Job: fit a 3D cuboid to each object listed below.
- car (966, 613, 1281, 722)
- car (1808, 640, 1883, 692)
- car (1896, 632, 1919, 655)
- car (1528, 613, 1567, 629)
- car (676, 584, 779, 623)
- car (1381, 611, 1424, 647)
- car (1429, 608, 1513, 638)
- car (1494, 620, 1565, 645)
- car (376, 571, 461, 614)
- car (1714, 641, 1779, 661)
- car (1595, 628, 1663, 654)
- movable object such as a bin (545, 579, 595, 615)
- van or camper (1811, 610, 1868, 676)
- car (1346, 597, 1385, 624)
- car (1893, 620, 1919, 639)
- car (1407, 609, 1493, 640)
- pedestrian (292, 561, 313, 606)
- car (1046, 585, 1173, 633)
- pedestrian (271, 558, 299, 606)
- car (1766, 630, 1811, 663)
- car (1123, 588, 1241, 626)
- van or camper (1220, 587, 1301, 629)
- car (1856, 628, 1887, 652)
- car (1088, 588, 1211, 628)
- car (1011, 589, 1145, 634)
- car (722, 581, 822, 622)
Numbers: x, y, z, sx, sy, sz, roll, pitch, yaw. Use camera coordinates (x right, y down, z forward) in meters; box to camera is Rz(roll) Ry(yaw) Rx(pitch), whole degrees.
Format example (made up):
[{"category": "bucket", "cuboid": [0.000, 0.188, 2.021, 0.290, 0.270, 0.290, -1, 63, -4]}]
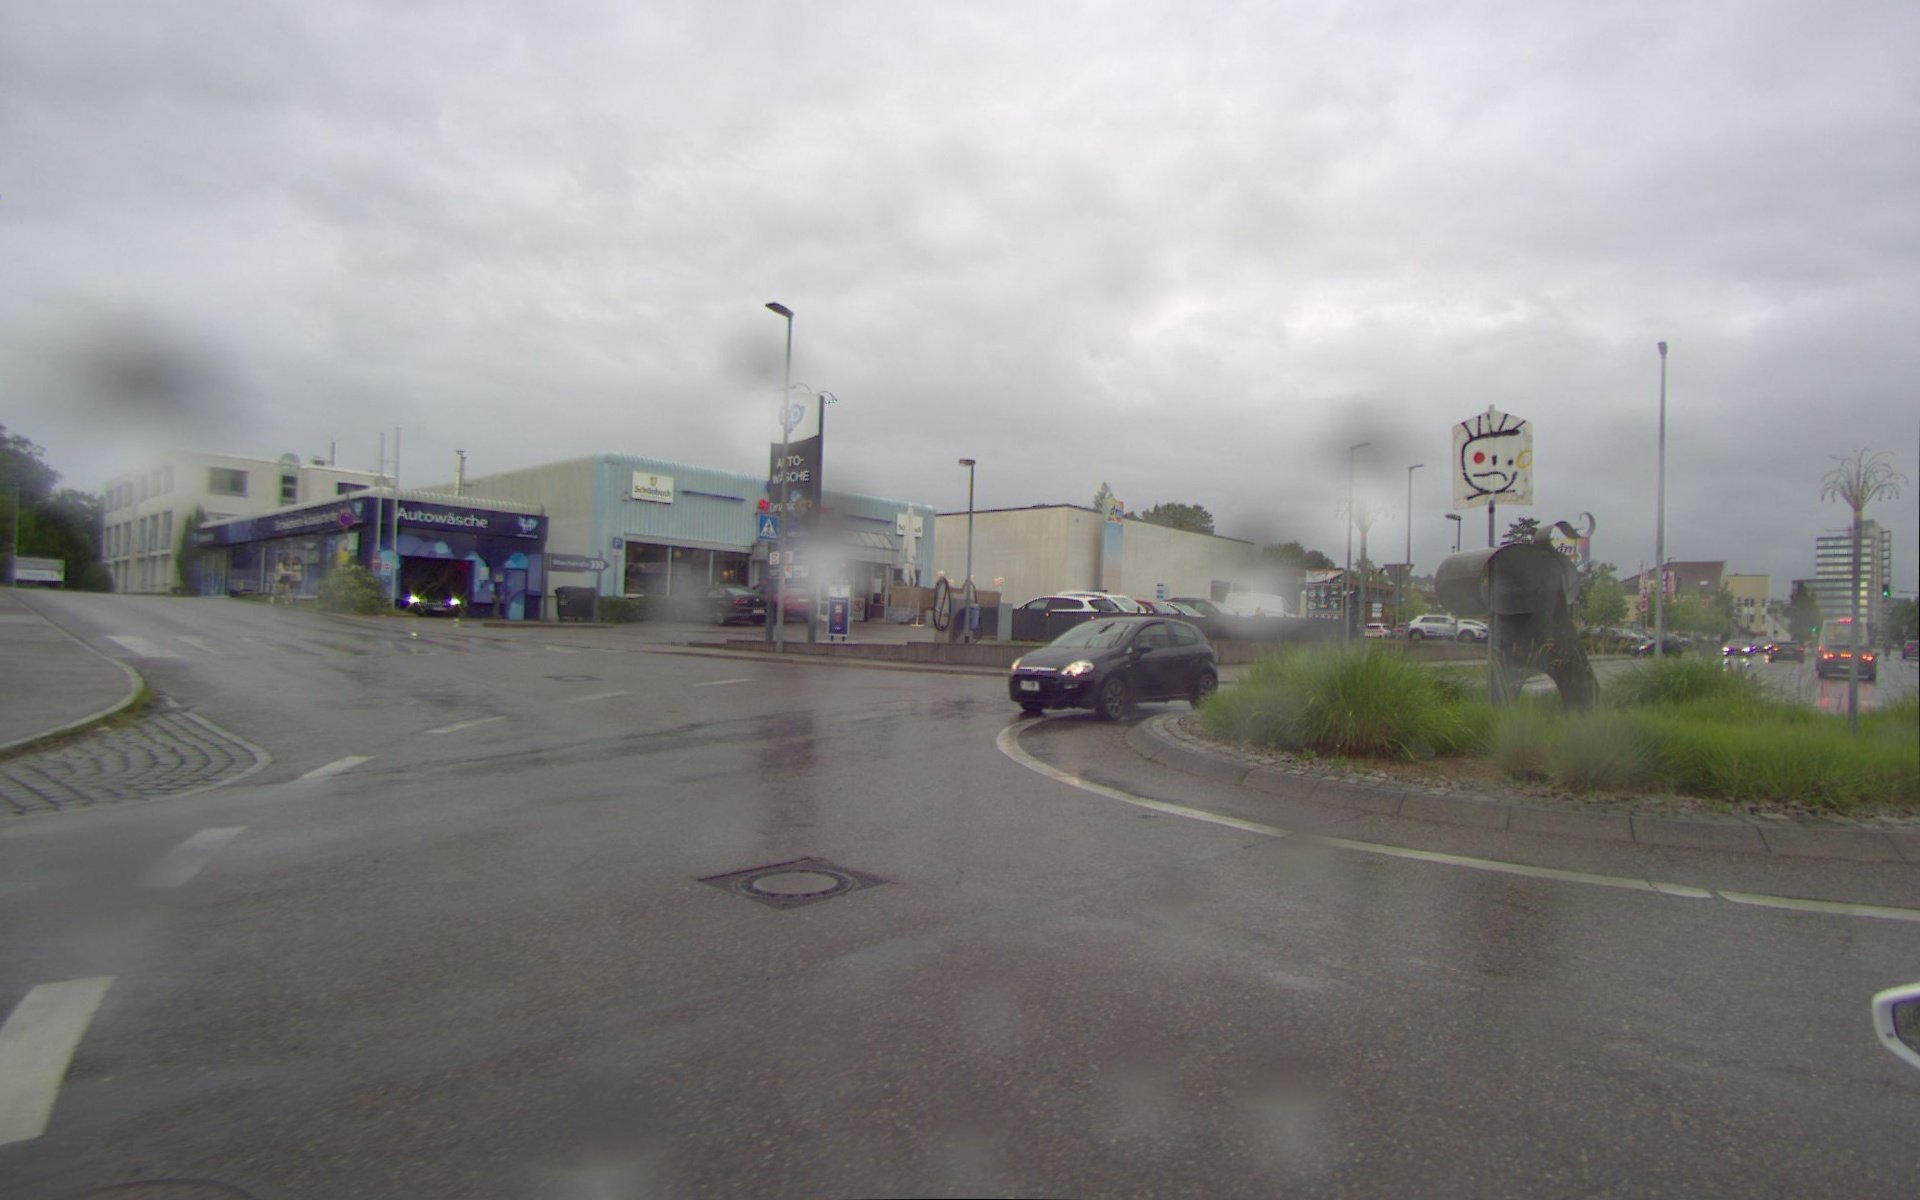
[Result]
[{"category": "car", "cuboid": [2.728, 0.972, 15.800, 5.302, 1.401, 1.976, 2, -1, -41]}, {"category": "car", "cuboid": [36.129, 2.628, 40.952, 3.972, 1.751, 1.974, -1, 2, -44]}, {"category": "car", "cuboid": [88.290, 4.040, 93.161, 1.972, 1.885, 3.975, 4, 4, 44]}, {"category": "car", "cuboid": [73.964, 2.645, 126.476, 3.941, 1.673, 1.989, 4, 4, 42]}, {"category": "car", "cuboid": [-8.627, 0.091, 37.117, 3.944, 1.313, 1.877, 1, 2, 43]}, {"category": "car", "cuboid": [29.391, 1.893, 66.626, 1.965, 2.041, 3.989, 3, 3, 32]}, {"category": "car", "cuboid": [29.052, 1.312, 57.175, 3.939, 1.572, 1.786, 1, -1, 40]}, {"category": "car", "cuboid": [38.853, 2.216, 68.573, 3.939, 1.572, 1.786, 1, -1, 40]}, {"category": "car", "cuboid": [-21.073, -0.290, 39.016, 1.909, 1.550, 3.947, 0, 0, -44]}, {"category": "car", "cuboid": [63.081, 4.064, 80.571, 3.929, 1.416, 1.996, 2, 0, -11]}, {"category": "car", "cuboid": [52.353, 3.190, 78.623, 3.923, 1.751, 1.998, 2, 3, -4]}, {"category": "movable object such as a bin", "cuboid": [-14.647, -0.121, 37.721, 1.458, 1.313, 1.208, 1, 2, 43]}, {"category": "van or camper", "cuboid": [44.563, 2.081, 50.973, 1.970, 3.129, 5.077, 1, 0, 40]}, {"category": "car", "cuboid": [34.273, 0.858, 84.847, 1.968, 2.041, 3.984, 4, 4, 37]}, {"category": "car", "cuboid": [106.032, 3.269, 112.608, 1.972, 1.885, 3.975, 4, 4, 44]}, {"category": "car", "cuboid": [26.761, 1.347, 54.910, 3.939, 1.572, 1.844, 1, -1, 40]}, {"category": "pedestrian", "cuboid": [-22.114, -0.556, 33.774, 0.539, 1.484, 0.465, 4, 4, 42]}, {"category": "car", "cuboid": [5.083, 0.298, 34.461, 3.939, 1.572, 1.786, 1, -1, 40]}, {"category": "pedestrian", "cuboid": [-22.396, -0.587, 33.315, 0.764, 1.552, 0.601, 4, 4, 42]}, {"category": "car", "cuboid": [55.574, 3.066, 67.350, 1.972, 1.885, 3.975, 4, 4, 44]}, {"category": "car", "cuboid": [8.295, 0.228, 37.648, 3.944, 1.313, 1.877, 1, 2, 43]}, {"category": "van or camper", "cuboid": [13.957, 0.333, 46.519, 1.861, 1.785, 4.356, 1, 2, 43]}, {"category": "car", "cuboid": [84.615, 3.702, 93.234, 1.973, 2.040, 3.974, 0, 1, 45]}, {"category": "car", "cuboid": [6.744, 0.246, 35.984, 3.944, 1.313, 1.877, 1, 2, 43]}, {"category": "car", "cuboid": [3.726, 0.322, 32.038, 3.944, 1.313, 1.877, 1, 2, 43]}, {"category": "car", "cuboid": [-7.370, 0.031, 39.224, 3.944, 1.506, 1.877, 1, 2, 43]}]
